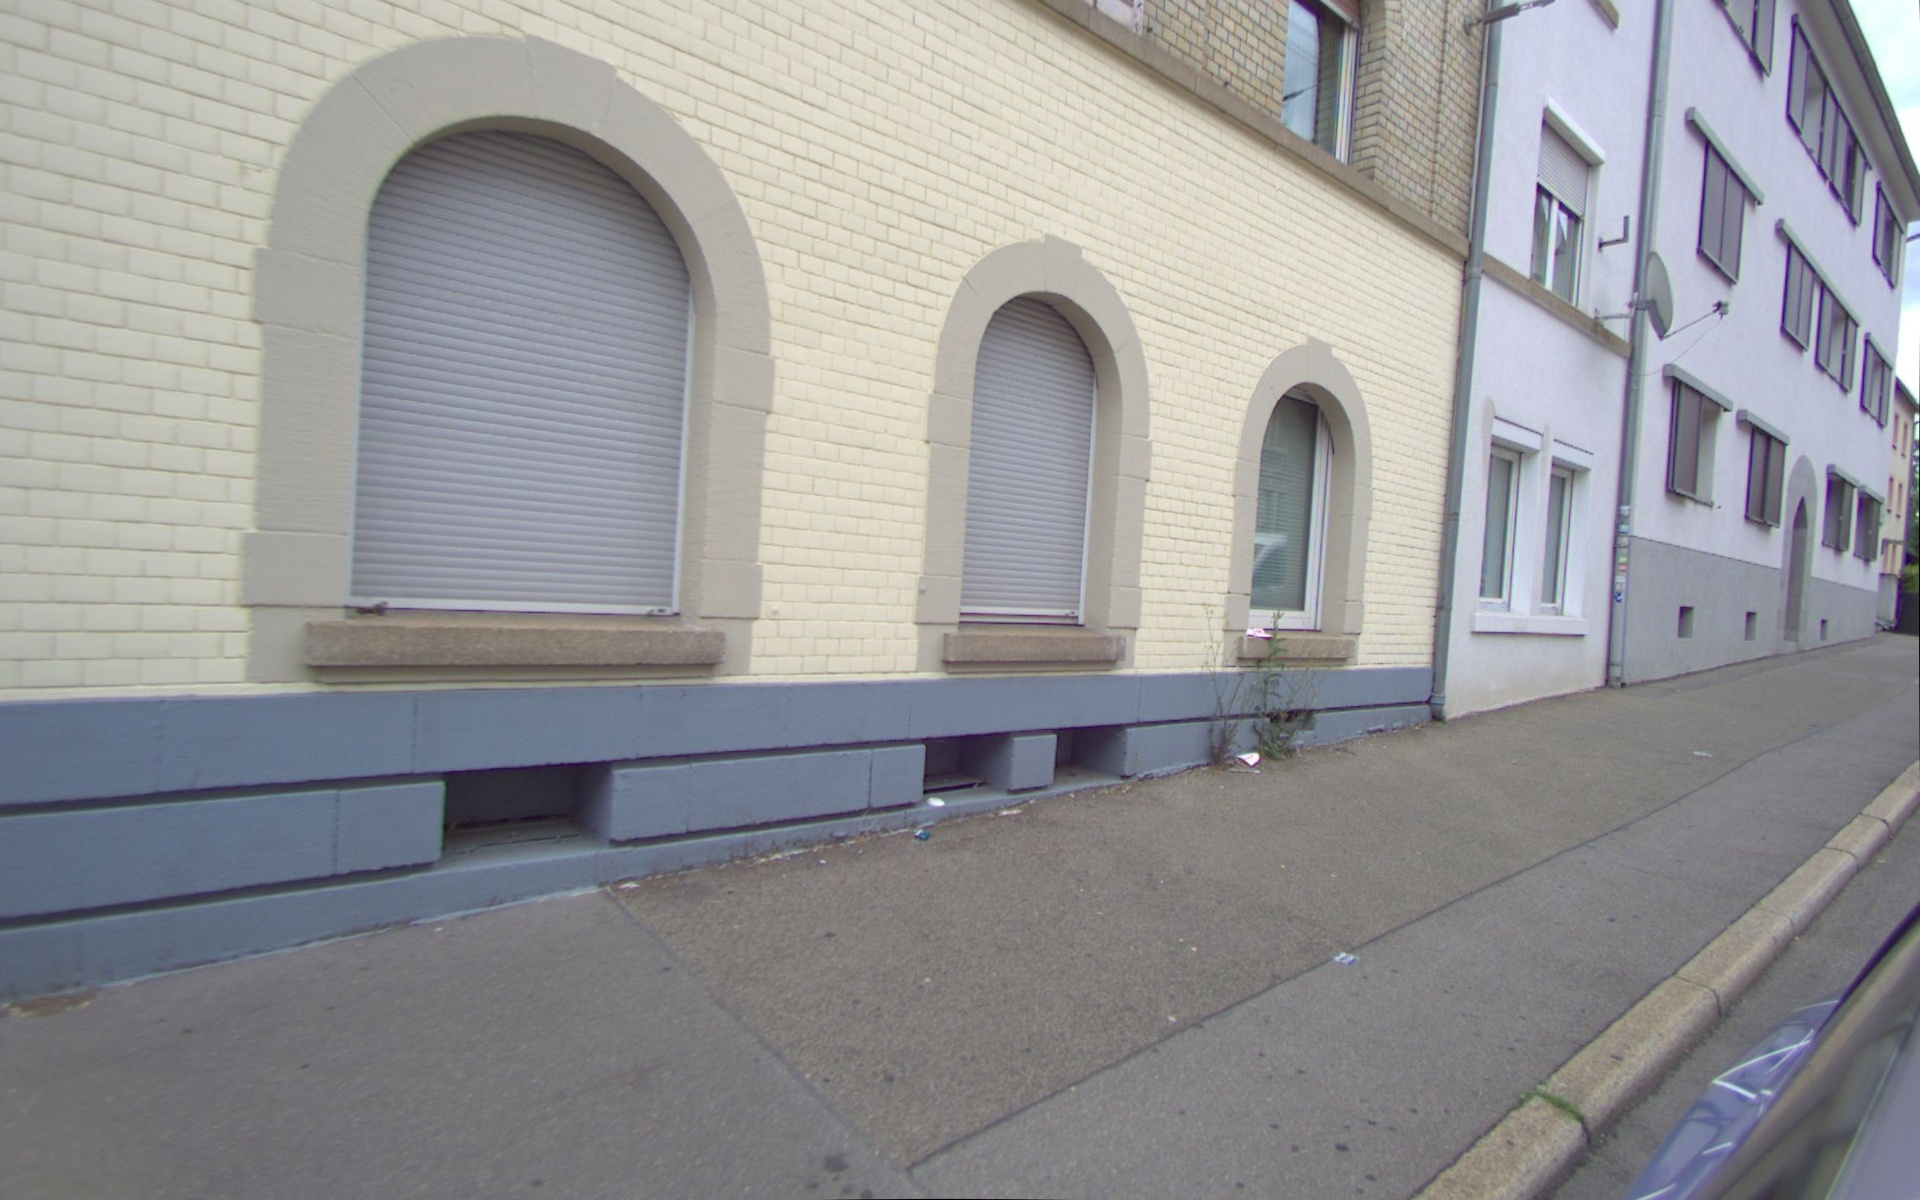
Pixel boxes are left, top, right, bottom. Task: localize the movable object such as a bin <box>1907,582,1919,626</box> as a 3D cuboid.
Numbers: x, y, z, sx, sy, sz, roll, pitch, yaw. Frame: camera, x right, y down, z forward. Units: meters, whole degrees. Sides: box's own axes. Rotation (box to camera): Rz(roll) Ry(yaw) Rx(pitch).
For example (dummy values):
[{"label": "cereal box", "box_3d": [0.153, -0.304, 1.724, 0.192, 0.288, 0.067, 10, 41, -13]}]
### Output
[{"label": "movable object such as a bin", "box_3d": [22.997, 0.122, 23.988, 0.592, 1.021, 0.638, 1, 5, -40]}]
